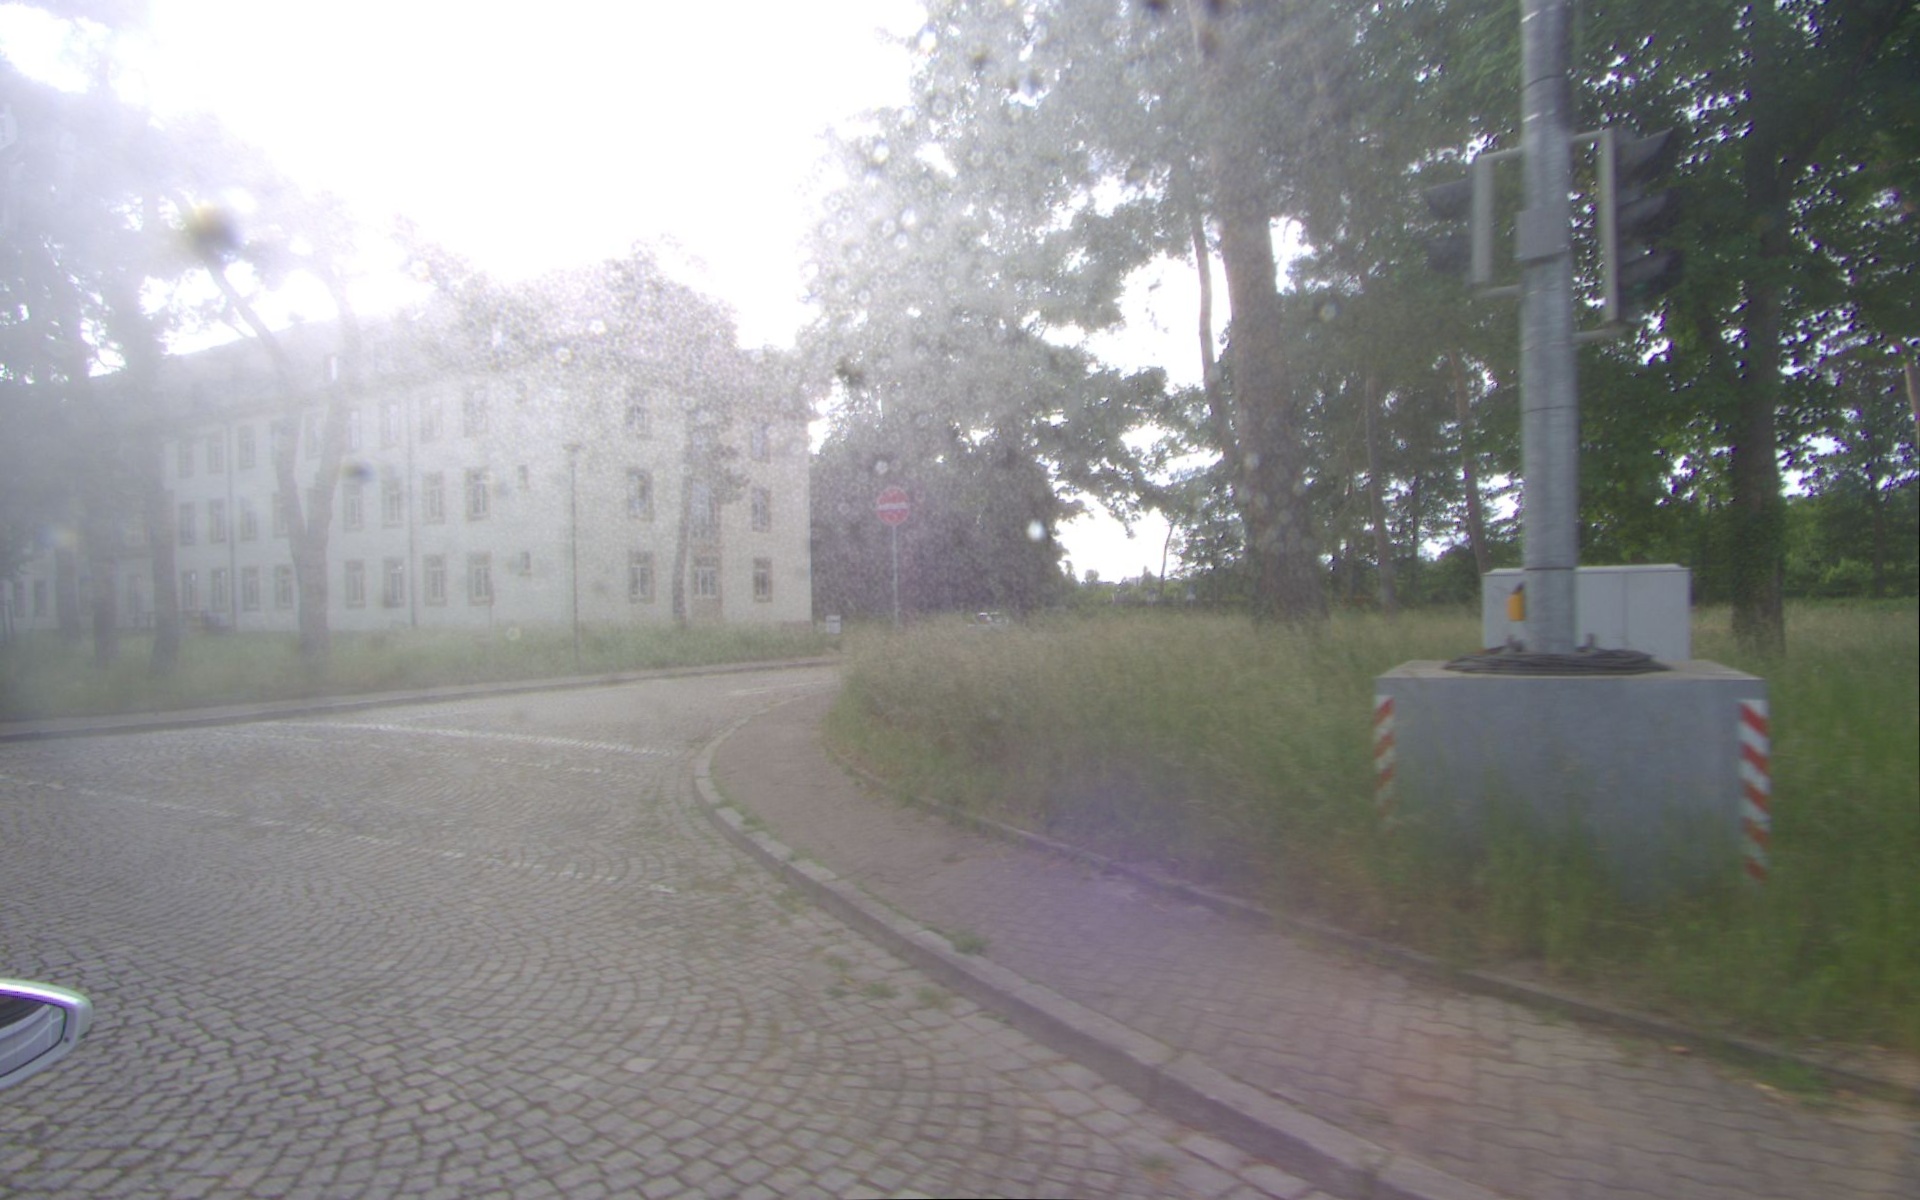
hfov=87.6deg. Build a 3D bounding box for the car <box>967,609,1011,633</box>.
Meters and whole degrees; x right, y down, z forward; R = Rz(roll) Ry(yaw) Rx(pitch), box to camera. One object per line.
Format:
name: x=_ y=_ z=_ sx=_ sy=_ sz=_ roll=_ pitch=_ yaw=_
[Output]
car: x=1.850 y=1.312 z=62.464 sx=1.466 sy=1.455 sz=3.182 roll=-1 pitch=-2 yaw=29
